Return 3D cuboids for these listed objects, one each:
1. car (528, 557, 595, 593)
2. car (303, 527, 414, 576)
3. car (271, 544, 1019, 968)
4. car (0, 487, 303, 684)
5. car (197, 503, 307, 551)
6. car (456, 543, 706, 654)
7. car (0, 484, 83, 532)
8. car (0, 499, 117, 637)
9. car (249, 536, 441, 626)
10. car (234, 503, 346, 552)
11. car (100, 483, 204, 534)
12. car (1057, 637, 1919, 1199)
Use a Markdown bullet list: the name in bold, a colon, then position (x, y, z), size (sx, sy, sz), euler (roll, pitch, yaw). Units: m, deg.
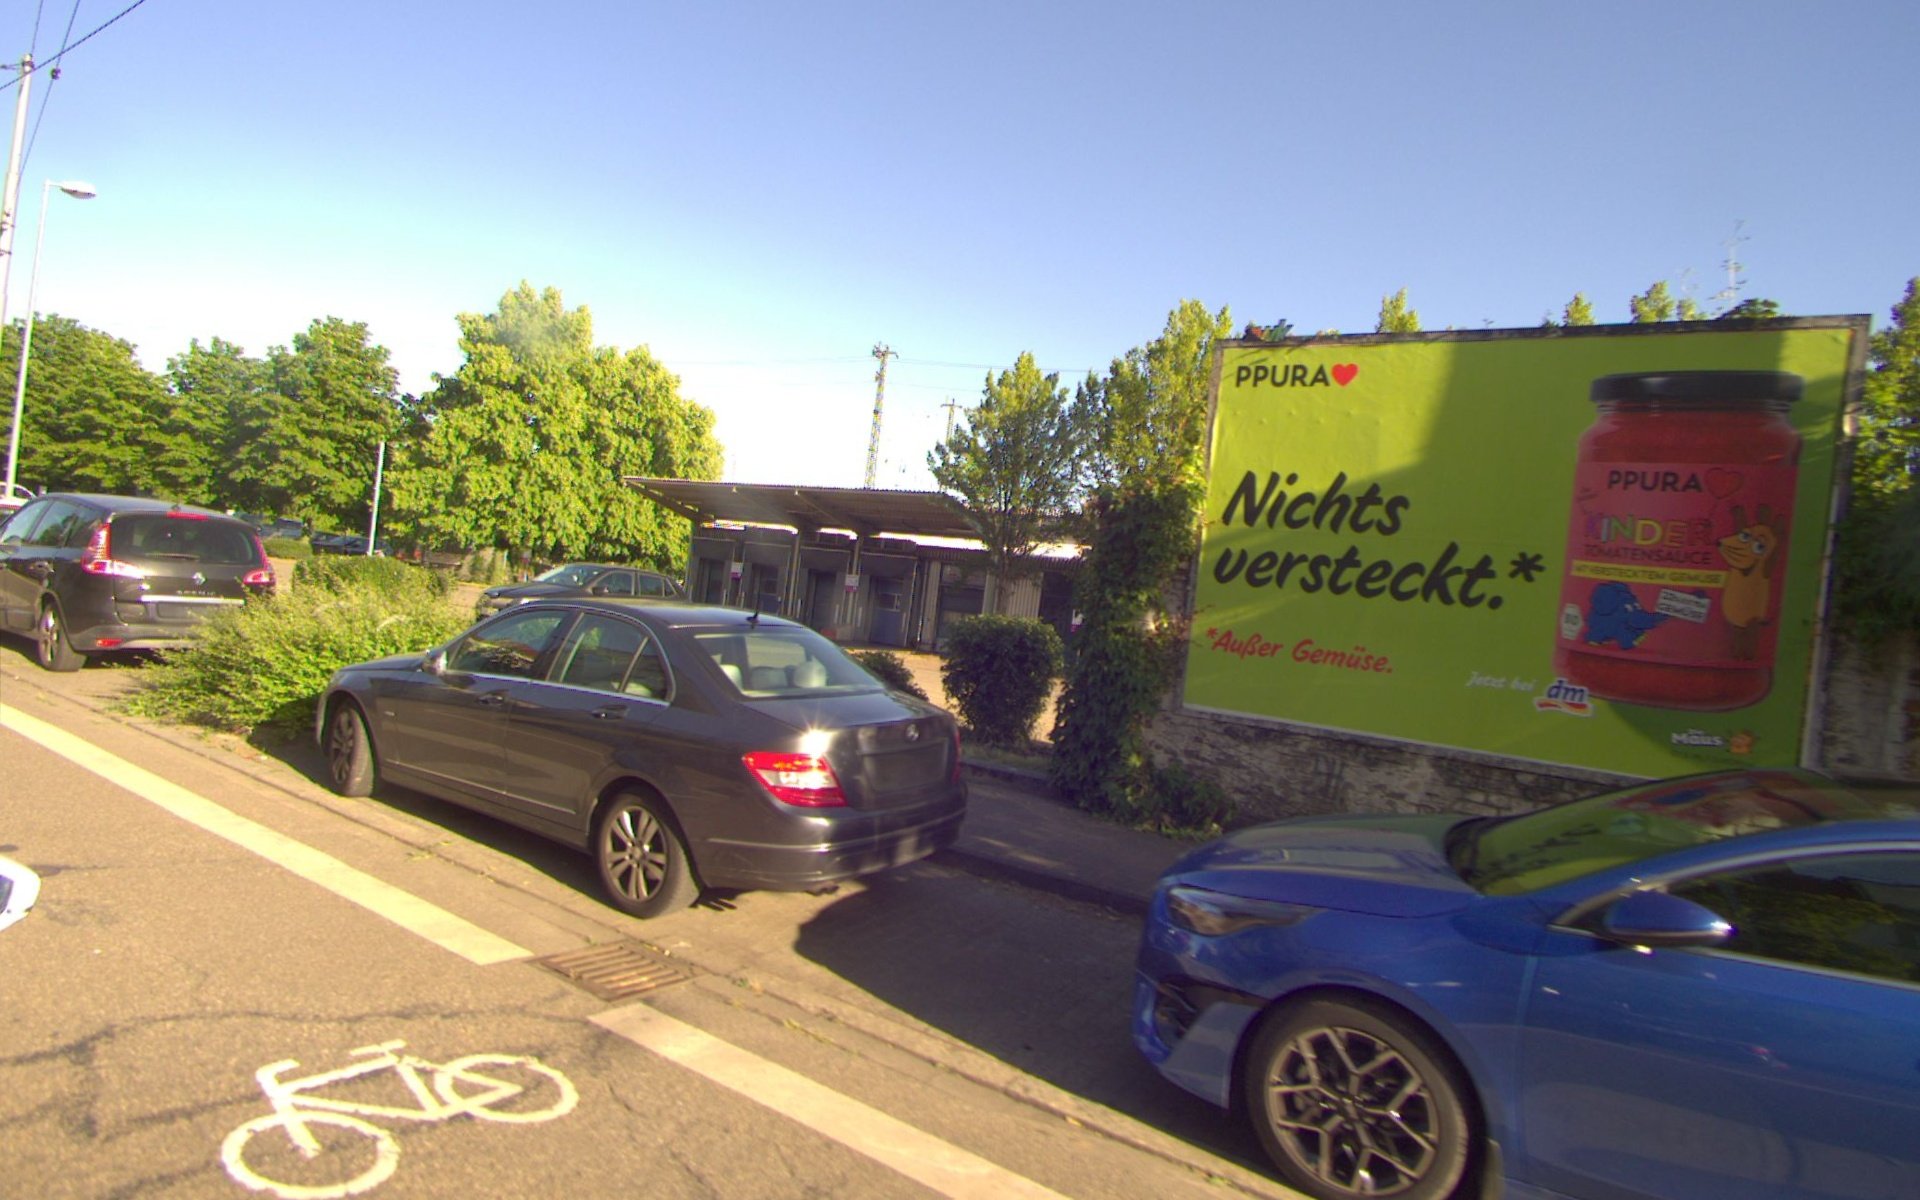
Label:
- **car**: position (-26.774, -1.648, 67.677), size (1.711, 1.945, 4.141), euler (7, -1, 20)
- **car**: position (-32.075, -2.553, 53.799), size (1.926, 1.836, 4.700), euler (7, -2, 23)
- **car**: position (-2.061, 0.660, 6.043), size (4.425, 1.481, 1.731), euler (6, -2, 33)
- **car**: position (-8.921, -0.239, 10.511), size (4.271, 1.625, 1.729), euler (6, 1, 32)
- **car**: position (-40.209, -4.125, 57.275), size (1.926, 1.836, 4.700), euler (7, -2, 23)
- **car**: position (-6.471, 0.039, 17.561), size (1.729, 1.415, 3.711), euler (6, -3, 31)
- **car**: position (-48.659, -4.826, 52.235), size (1.743, 2.039, 4.288), euler (7, 0, 26)
- **car**: position (-12.888, -0.580, 12.876), size (4.179, 1.529, 1.732), euler (6, -2, 29)
- **car**: position (-9.885, -0.310, 16.138), size (3.005, 1.045, 1.312), euler (6, -2, 31)
- **car**: position (-36.564, -3.918, 55.040), size (1.926, 1.836, 4.700), euler (7, -2, 23)
- **car**: position (-47.962, -5.410, 59.813), size (2.104, 2.268, 4.202), euler (7, -1, 20)
- **car**: position (2.670, 1.148, 3.067), size (4.267, 1.481, 1.732), euler (6, -2, 29)
